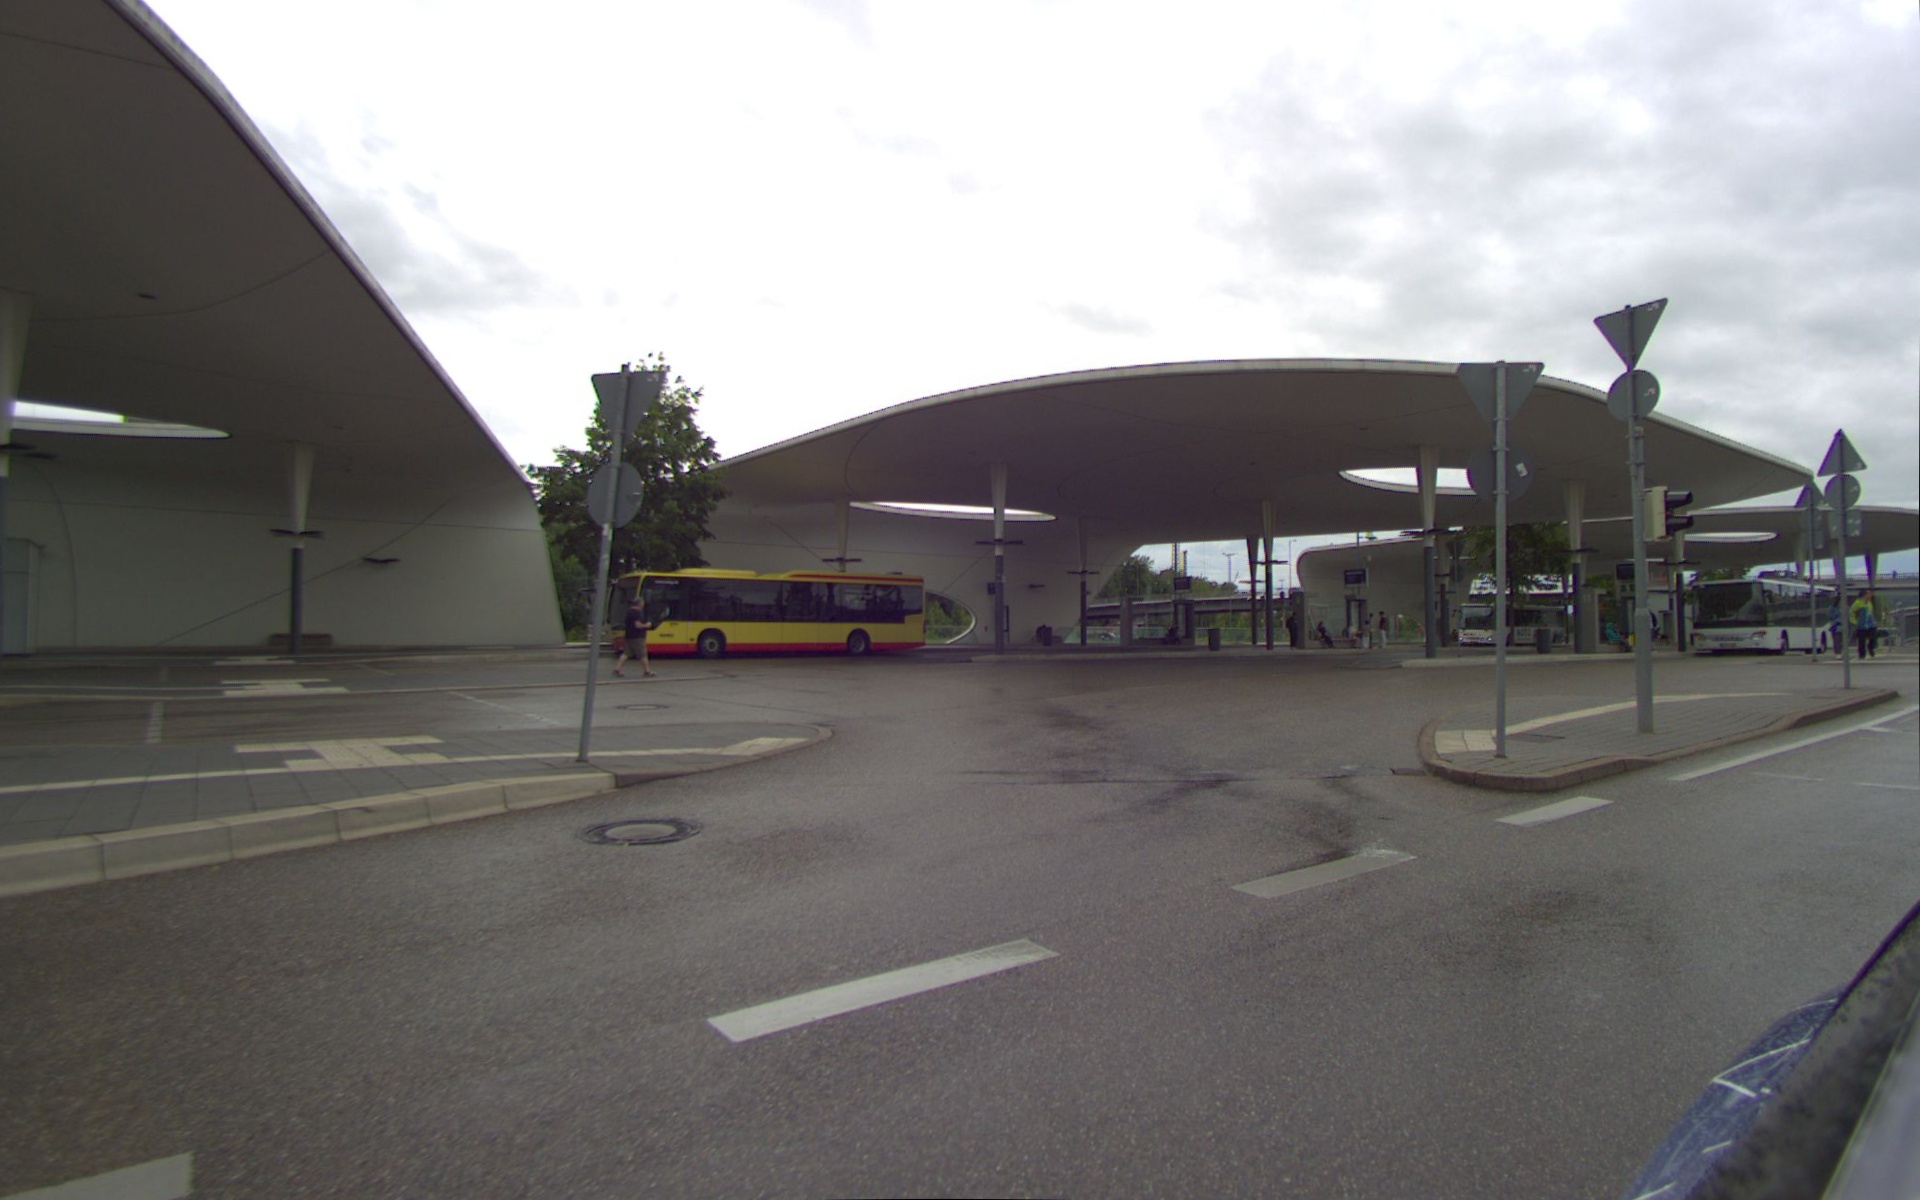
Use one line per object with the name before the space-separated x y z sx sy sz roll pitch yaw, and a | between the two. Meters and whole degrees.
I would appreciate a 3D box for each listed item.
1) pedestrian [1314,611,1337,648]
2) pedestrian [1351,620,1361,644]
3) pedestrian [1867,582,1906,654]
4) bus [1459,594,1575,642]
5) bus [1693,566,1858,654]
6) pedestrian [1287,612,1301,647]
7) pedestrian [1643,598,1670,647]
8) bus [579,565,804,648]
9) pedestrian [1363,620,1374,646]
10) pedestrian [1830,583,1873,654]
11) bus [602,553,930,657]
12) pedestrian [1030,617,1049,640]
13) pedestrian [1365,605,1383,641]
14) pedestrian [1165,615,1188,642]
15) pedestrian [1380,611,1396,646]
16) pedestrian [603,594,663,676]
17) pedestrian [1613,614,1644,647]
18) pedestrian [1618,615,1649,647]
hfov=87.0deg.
pedestrian | 16.502 1.318 45.701 0.666 1.610 0.589 -3 -3 -41
pedestrian | 18.390 1.479 46.972 0.346 1.095 0.392 0 -1 4
pedestrian | 22.553 0.435 24.637 0.570 1.691 0.523 -2 -1 -37
bus | 40.509 1.248 73.384 11.917 3.299 2.795 0 -1 -38
bus | 35.750 0.416 44.085 12.196 3.405 2.852 1 -1 -38
pedestrian | 14.779 1.294 44.791 0.513 1.521 0.380 0 -1 13
pedestrian | 27.630 0.893 40.138 0.635 1.911 0.587 3 -1 -27
bus | -11.961 0.296 45.879 9.678 3.443 2.520 1 -1 -39
pedestrian | 18.889 1.530 46.835 0.357 1.160 0.395 0 -1 4
pedestrian | 22.121 0.463 25.120 0.570 1.691 0.590 -4 -1 -38
bus | -6.663 0.208 37.057 11.921 3.299 2.794 0 -1 -39
pedestrian | 4.949 1.784 62.795 0.786 1.342 0.711 -3 -3 -34
pedestrian | 19.739 1.082 48.236 0.546 1.676 0.571 1 -1 -31
pedestrian | 11.539 1.534 53.940 0.785 1.342 0.712 -3 -2 -30
pedestrian | 20.578 1.360 48.677 0.633 1.676 0.637 0 -1 13
pedestrian | -7.058 0.736 21.883 0.713 1.705 1.012 1 0 27
pedestrian | 26.745 1.218 40.488 0.945 1.271 0.642 2 -1 30
pedestrian | 27.273 1.254 40.979 0.945 1.271 0.642 2 -1 30
